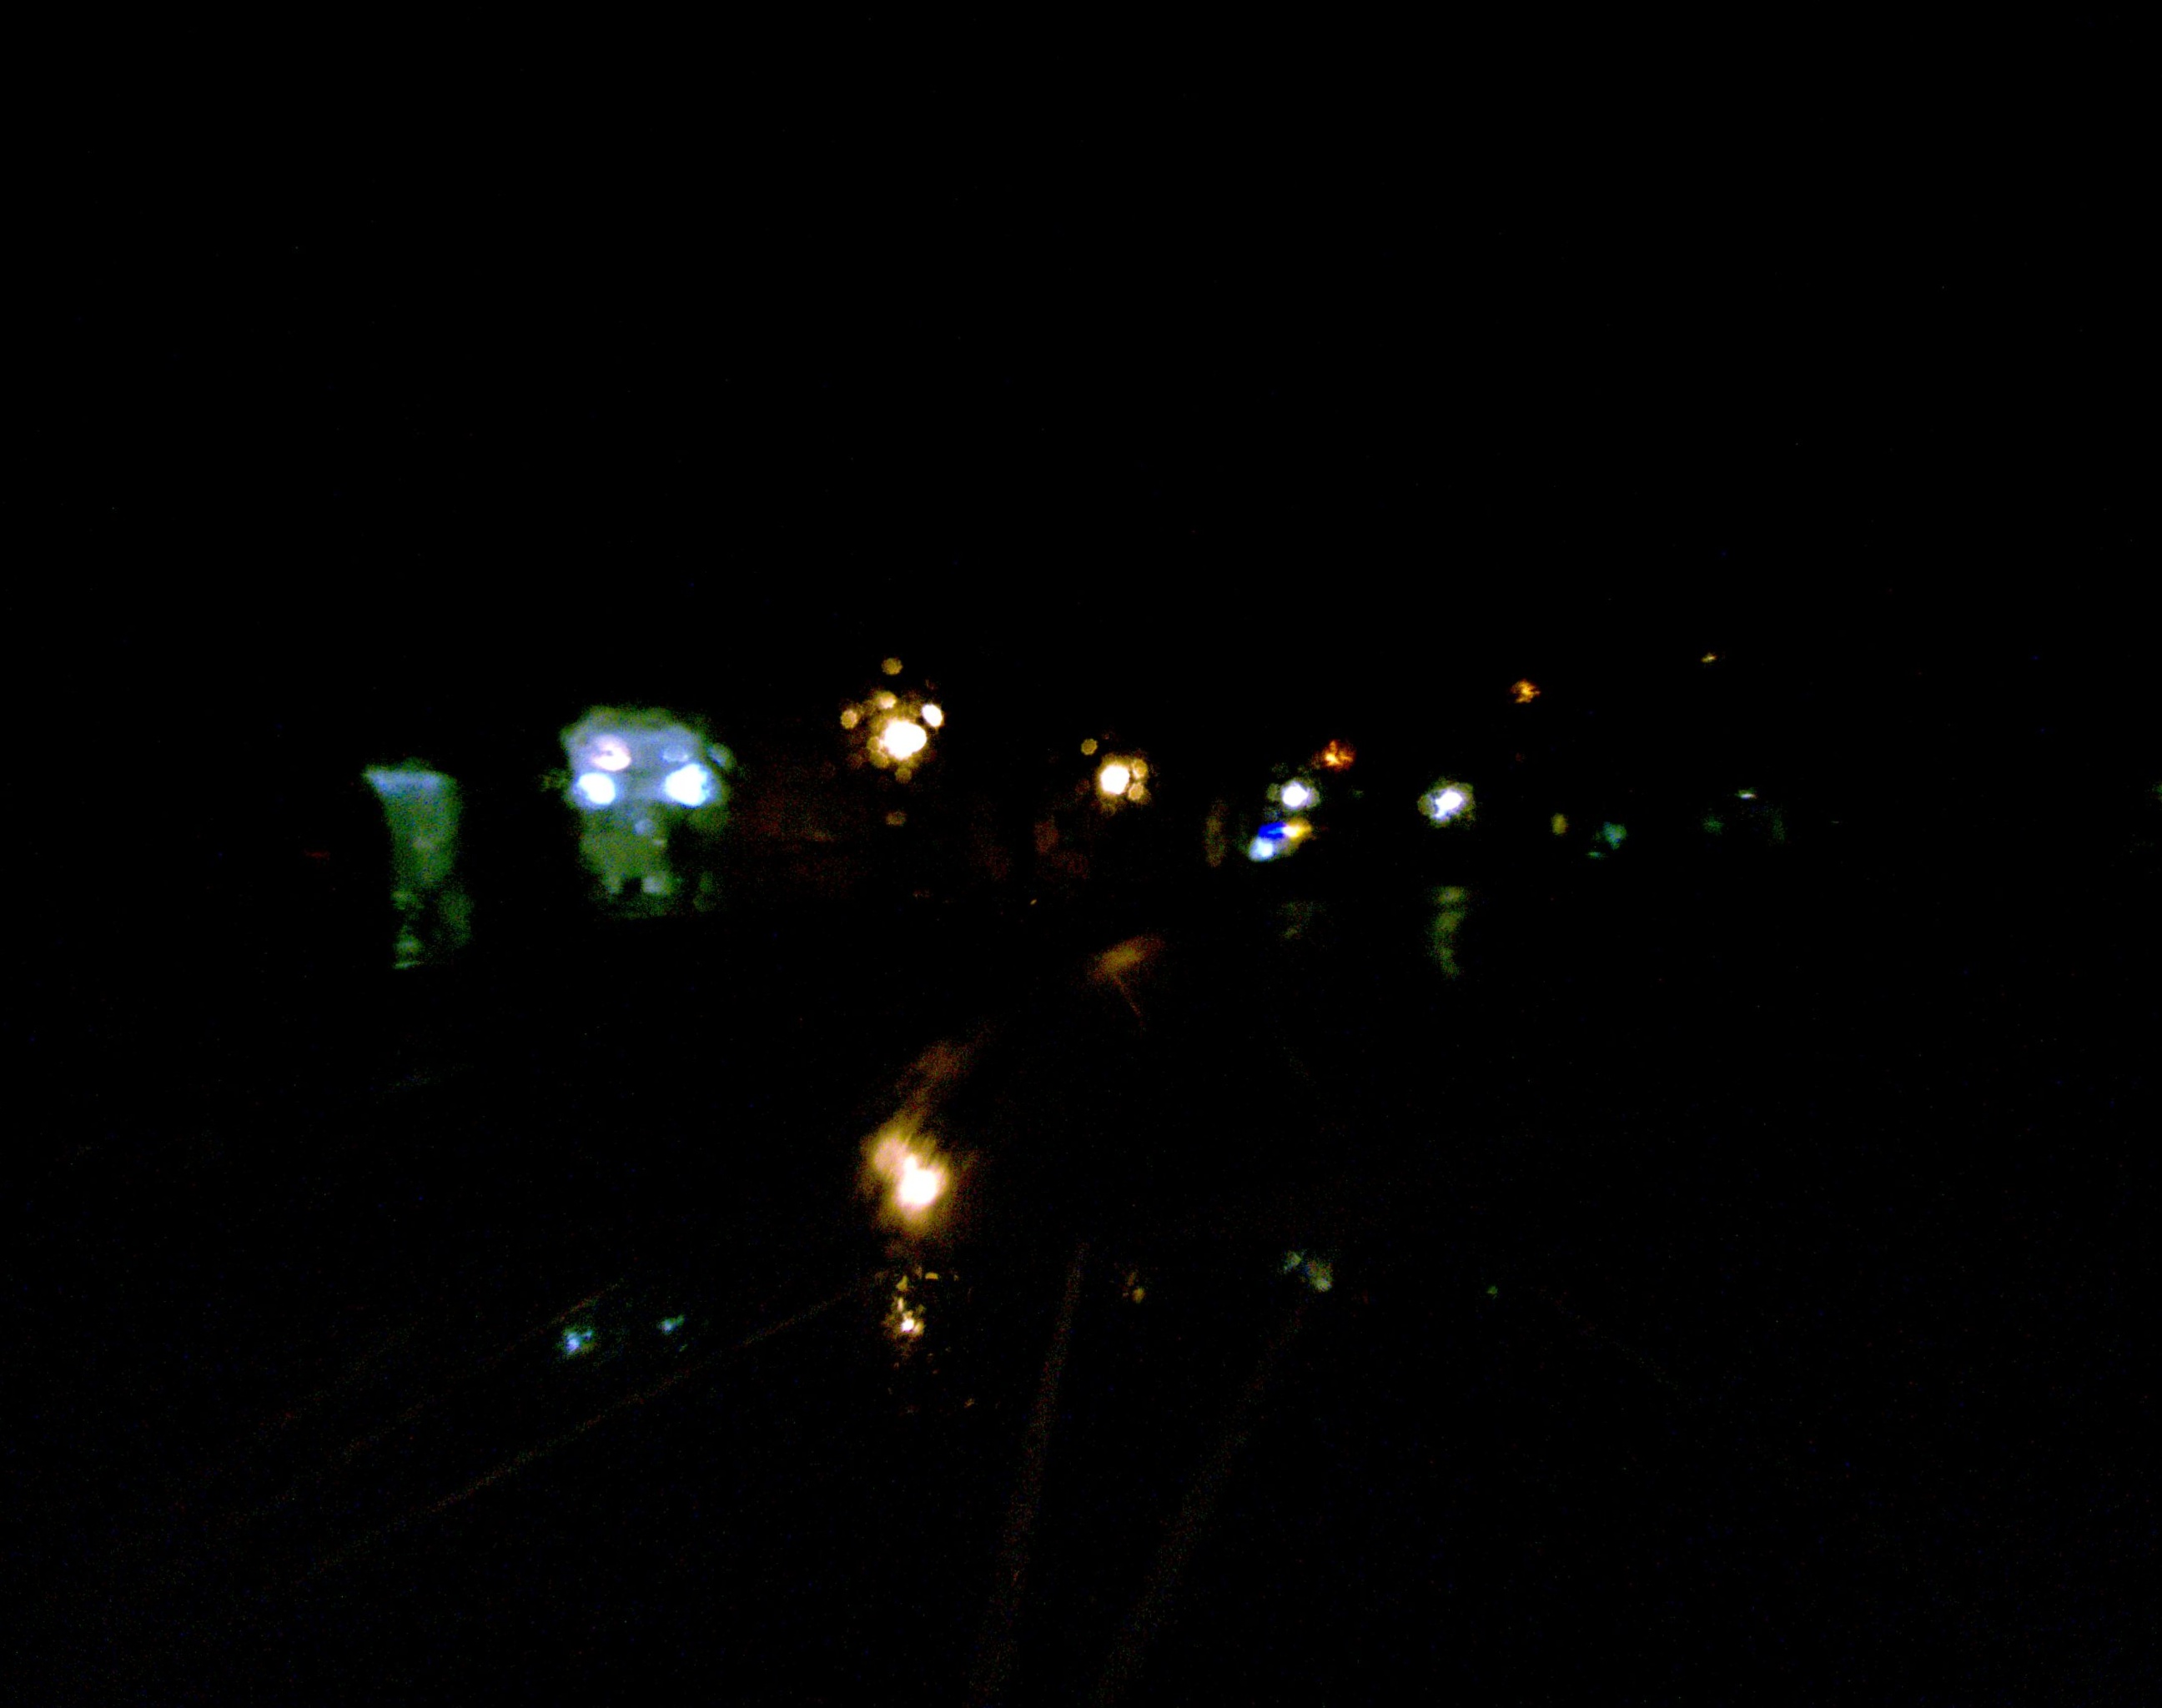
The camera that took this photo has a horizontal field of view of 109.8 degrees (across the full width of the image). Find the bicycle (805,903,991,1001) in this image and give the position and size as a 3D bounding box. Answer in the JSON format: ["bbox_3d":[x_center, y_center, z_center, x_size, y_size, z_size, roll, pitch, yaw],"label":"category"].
[{"bbox_3d":[-2.094,1.089,8.728,1.971,1.001,0.643,-1,1,14],"label":"bicycle"}]

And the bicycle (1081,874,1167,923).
[{"bbox_3d":[0.957,0.993,17.380,1.969,1.001,0.643,0,2,42],"label":"bicycle"}]

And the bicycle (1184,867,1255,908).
[{"bbox_3d":[4.035,0.956,22.156,1.927,1.108,0.732,0,2,42],"label":"bicycle"}]

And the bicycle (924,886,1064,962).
[{"bbox_3d":[-1.302,1.027,11.448,1.971,1.059,0.643,-1,1,14],"label":"bicycle"}]

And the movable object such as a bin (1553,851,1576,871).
[{"bbox_3d":[28.011,0.427,44.027,0.634,1.109,0.922,-3,-1,-8],"label":"movable object such as a bin"}]

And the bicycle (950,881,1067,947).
[{"bbox_3d":[-1.233,1.028,13.215,1.974,1.047,0.642,-1,1,-1],"label":"bicycle"}]

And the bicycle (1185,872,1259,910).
[{"bbox_3d":[3.969,1.019,21.493,1.927,0.982,0.732,0,2,42],"label":"bicycle"}]

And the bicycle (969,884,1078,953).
[{"bbox_3d":[-1.007,1.053,12.878,1.969,1.001,0.643,0,2,42],"label":"bicycle"}]

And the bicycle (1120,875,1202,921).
[{"bbox_3d":[1.924,1.053,18.468,1.969,1.001,0.643,0,2,42],"label":"bicycle"}]

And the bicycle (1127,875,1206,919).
[{"bbox_3d":[2.139,1.046,19.144,1.969,1.001,0.643,0,2,42],"label":"bicycle"}]

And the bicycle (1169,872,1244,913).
[{"bbox_3d":[3.415,1.029,20.832,1.969,1.001,0.689,0,2,42],"label":"bicycle"}]

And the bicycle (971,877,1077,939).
[{"bbox_3d":[-1.060,0.997,14.290,1.822,1.081,0.722,-1,1,14],"label":"bicycle"}]

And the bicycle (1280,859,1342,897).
[{"bbox_3d":[7.702,0.797,25.503,1.869,1.210,0.732,0,2,42],"label":"bicycle"}]

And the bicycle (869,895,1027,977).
[{"bbox_3d":[-1.766,1.067,10.153,1.971,1.001,0.643,-1,1,14],"label":"bicycle"}]

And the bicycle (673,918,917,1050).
[{"bbox_3d":[-2.514,1.101,6.720,1.971,1.001,0.643,-1,1,14],"label":"bicycle"}]

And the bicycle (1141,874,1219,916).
[{"bbox_3d":[2.539,1.038,19.661,1.969,1.001,0.643,0,2,42],"label":"bicycle"}]

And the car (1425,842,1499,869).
[{"bbox_3d":[24.726,0.084,49.499,1.889,1.584,4.492,-3,0,-11],"label":"car"}]

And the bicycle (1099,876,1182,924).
[{"bbox_3d":[1.385,1.052,17.946,1.969,1.028,0.643,0,2,42],"label":"bicycle"}]

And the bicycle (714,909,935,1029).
[{"bbox_3d":[-2.488,1.079,7.407,1.971,1.029,0.643,-1,1,14],"label":"bicycle"}]

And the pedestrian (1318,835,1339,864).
[{"bbox_3d":[14.879,-0.263,45.722,0.690,1.752,1.042,-1,-1,-14],"label":"pedestrian"}]

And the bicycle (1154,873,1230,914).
[{"bbox_3d":[2.939,1.031,20.295,1.969,1.001,0.643,0,2,42],"label":"bicycle"}]

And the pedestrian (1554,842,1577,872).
[{"bbox_3d":[27.468,0.178,43.092,0.634,1.628,0.874,-3,-1,-8],"label":"pedestrian"}]

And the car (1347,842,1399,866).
[{"bbox_3d":[22.981,0.021,59.917,1.881,1.694,4.283,-3,0,-9],"label":"car"}]

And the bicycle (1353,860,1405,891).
[{"bbox_3d":[10.855,0.789,27.718,1.620,1.076,0.566,-1,3,41],"label":"bicycle"}]

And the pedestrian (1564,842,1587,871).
[{"bbox_3d":[28.121,0.154,43.210,0.634,1.628,0.842,-3,-1,-8],"label":"pedestrian"}]
